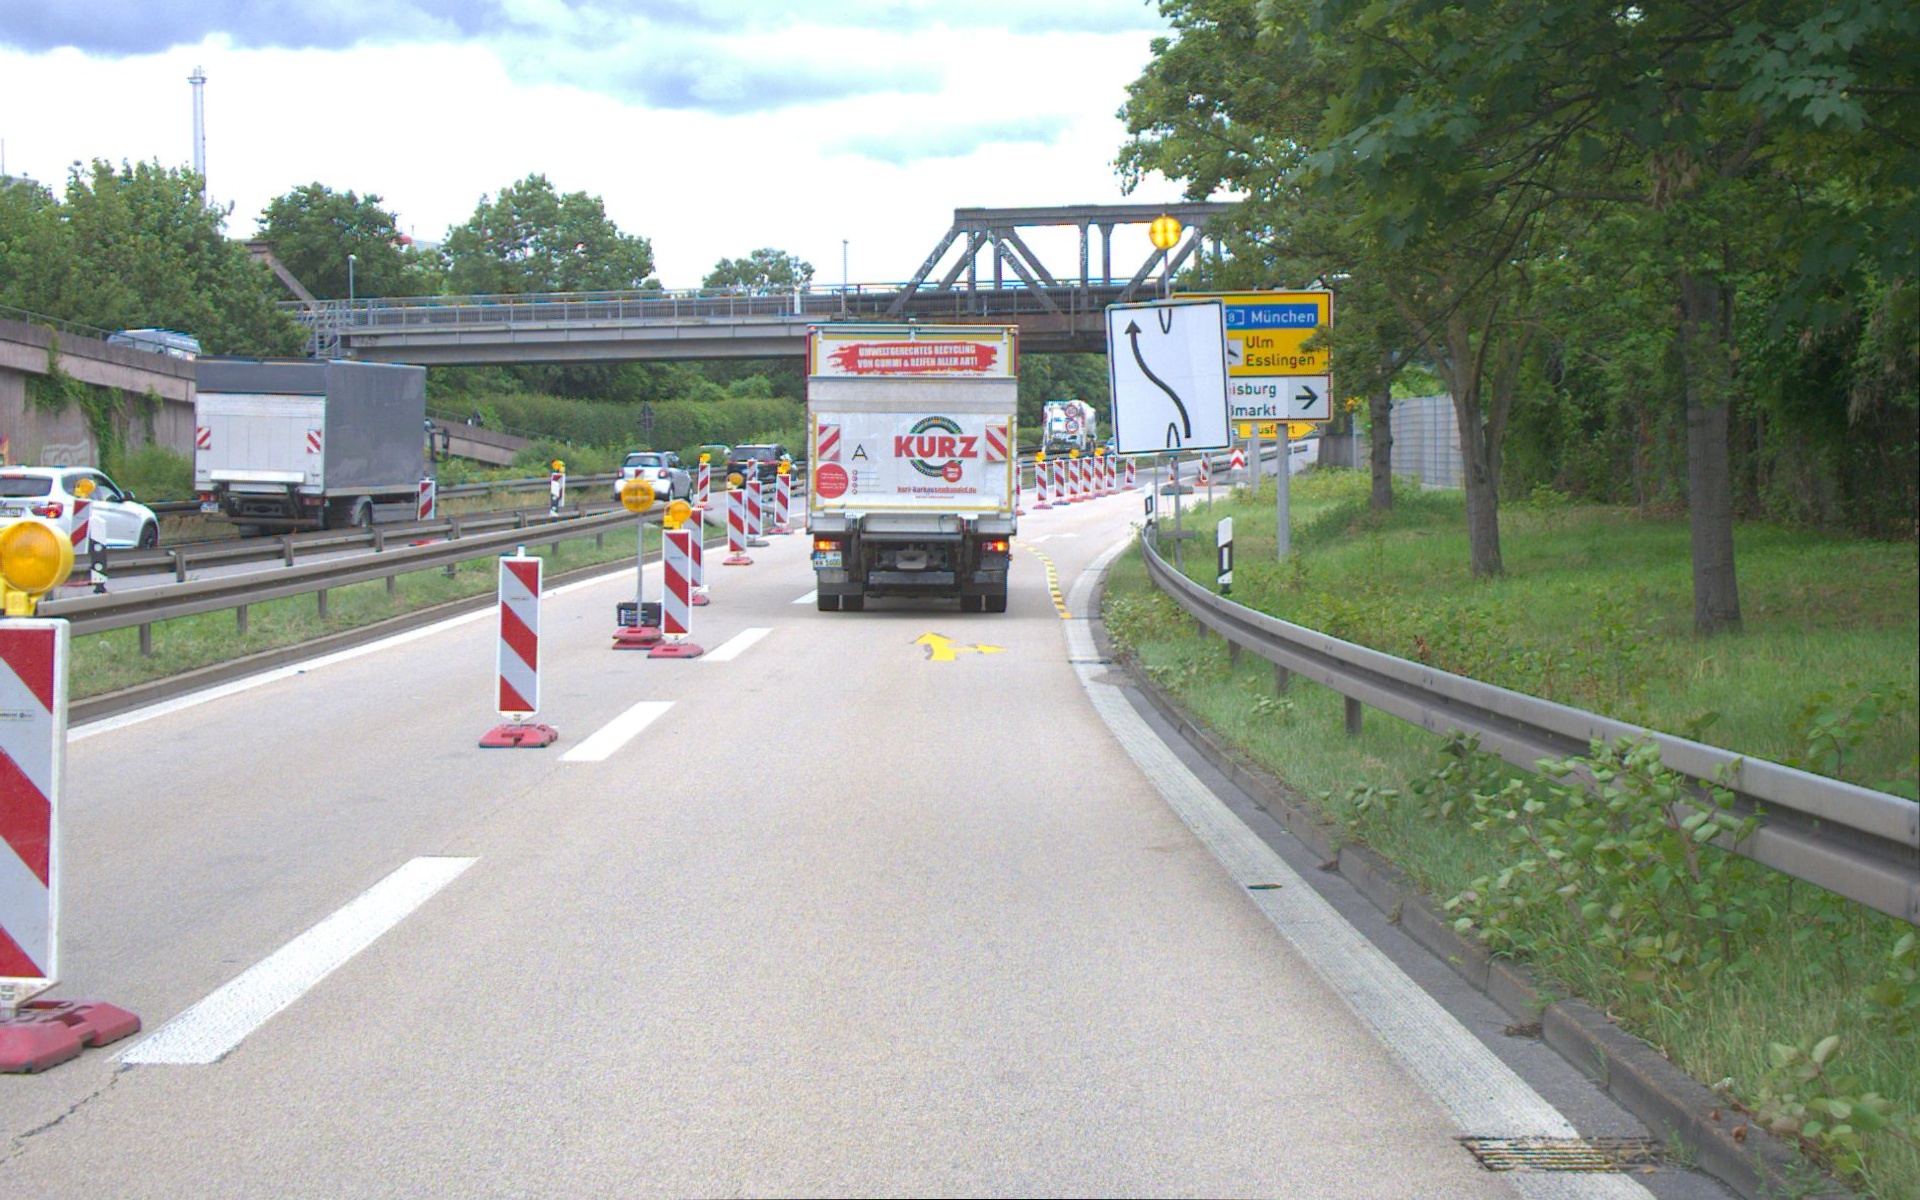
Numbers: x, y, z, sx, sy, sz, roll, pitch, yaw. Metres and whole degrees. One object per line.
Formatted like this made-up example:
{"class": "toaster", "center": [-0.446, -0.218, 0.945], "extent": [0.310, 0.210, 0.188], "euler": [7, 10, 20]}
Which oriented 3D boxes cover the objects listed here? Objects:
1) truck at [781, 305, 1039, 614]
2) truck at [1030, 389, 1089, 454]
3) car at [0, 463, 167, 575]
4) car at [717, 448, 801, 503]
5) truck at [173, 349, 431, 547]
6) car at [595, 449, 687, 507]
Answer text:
{"class": "truck", "center": [-0.505, -1.775, 44.792], "extent": [3.051, 3.660, 7.928], "euler": [0, 2, 1]}
{"class": "truck", "center": [6.095, -10.845, 209.431], "extent": [3.287, 3.839, 7.664], "euler": [0, 2, 4]}
{"class": "car", "center": [-14.320, -1.311, 54.567], "extent": [1.994, 1.706, 4.100], "euler": [0, 2, 9]}
{"class": "car", "center": [-5.967, -3.708, 102.382], "extent": [1.994, 1.612, 4.000], "euler": [0, 2, 4]}
{"class": "truck", "center": [-12.766, -2.943, 67.383], "extent": [3.051, 3.643, 7.395], "euler": [0, 2, 5]}
{"class": "car", "center": [-9.122, -3.490, 98.564], "extent": [1.994, 1.612, 4.000], "euler": [0, 2, 4]}
